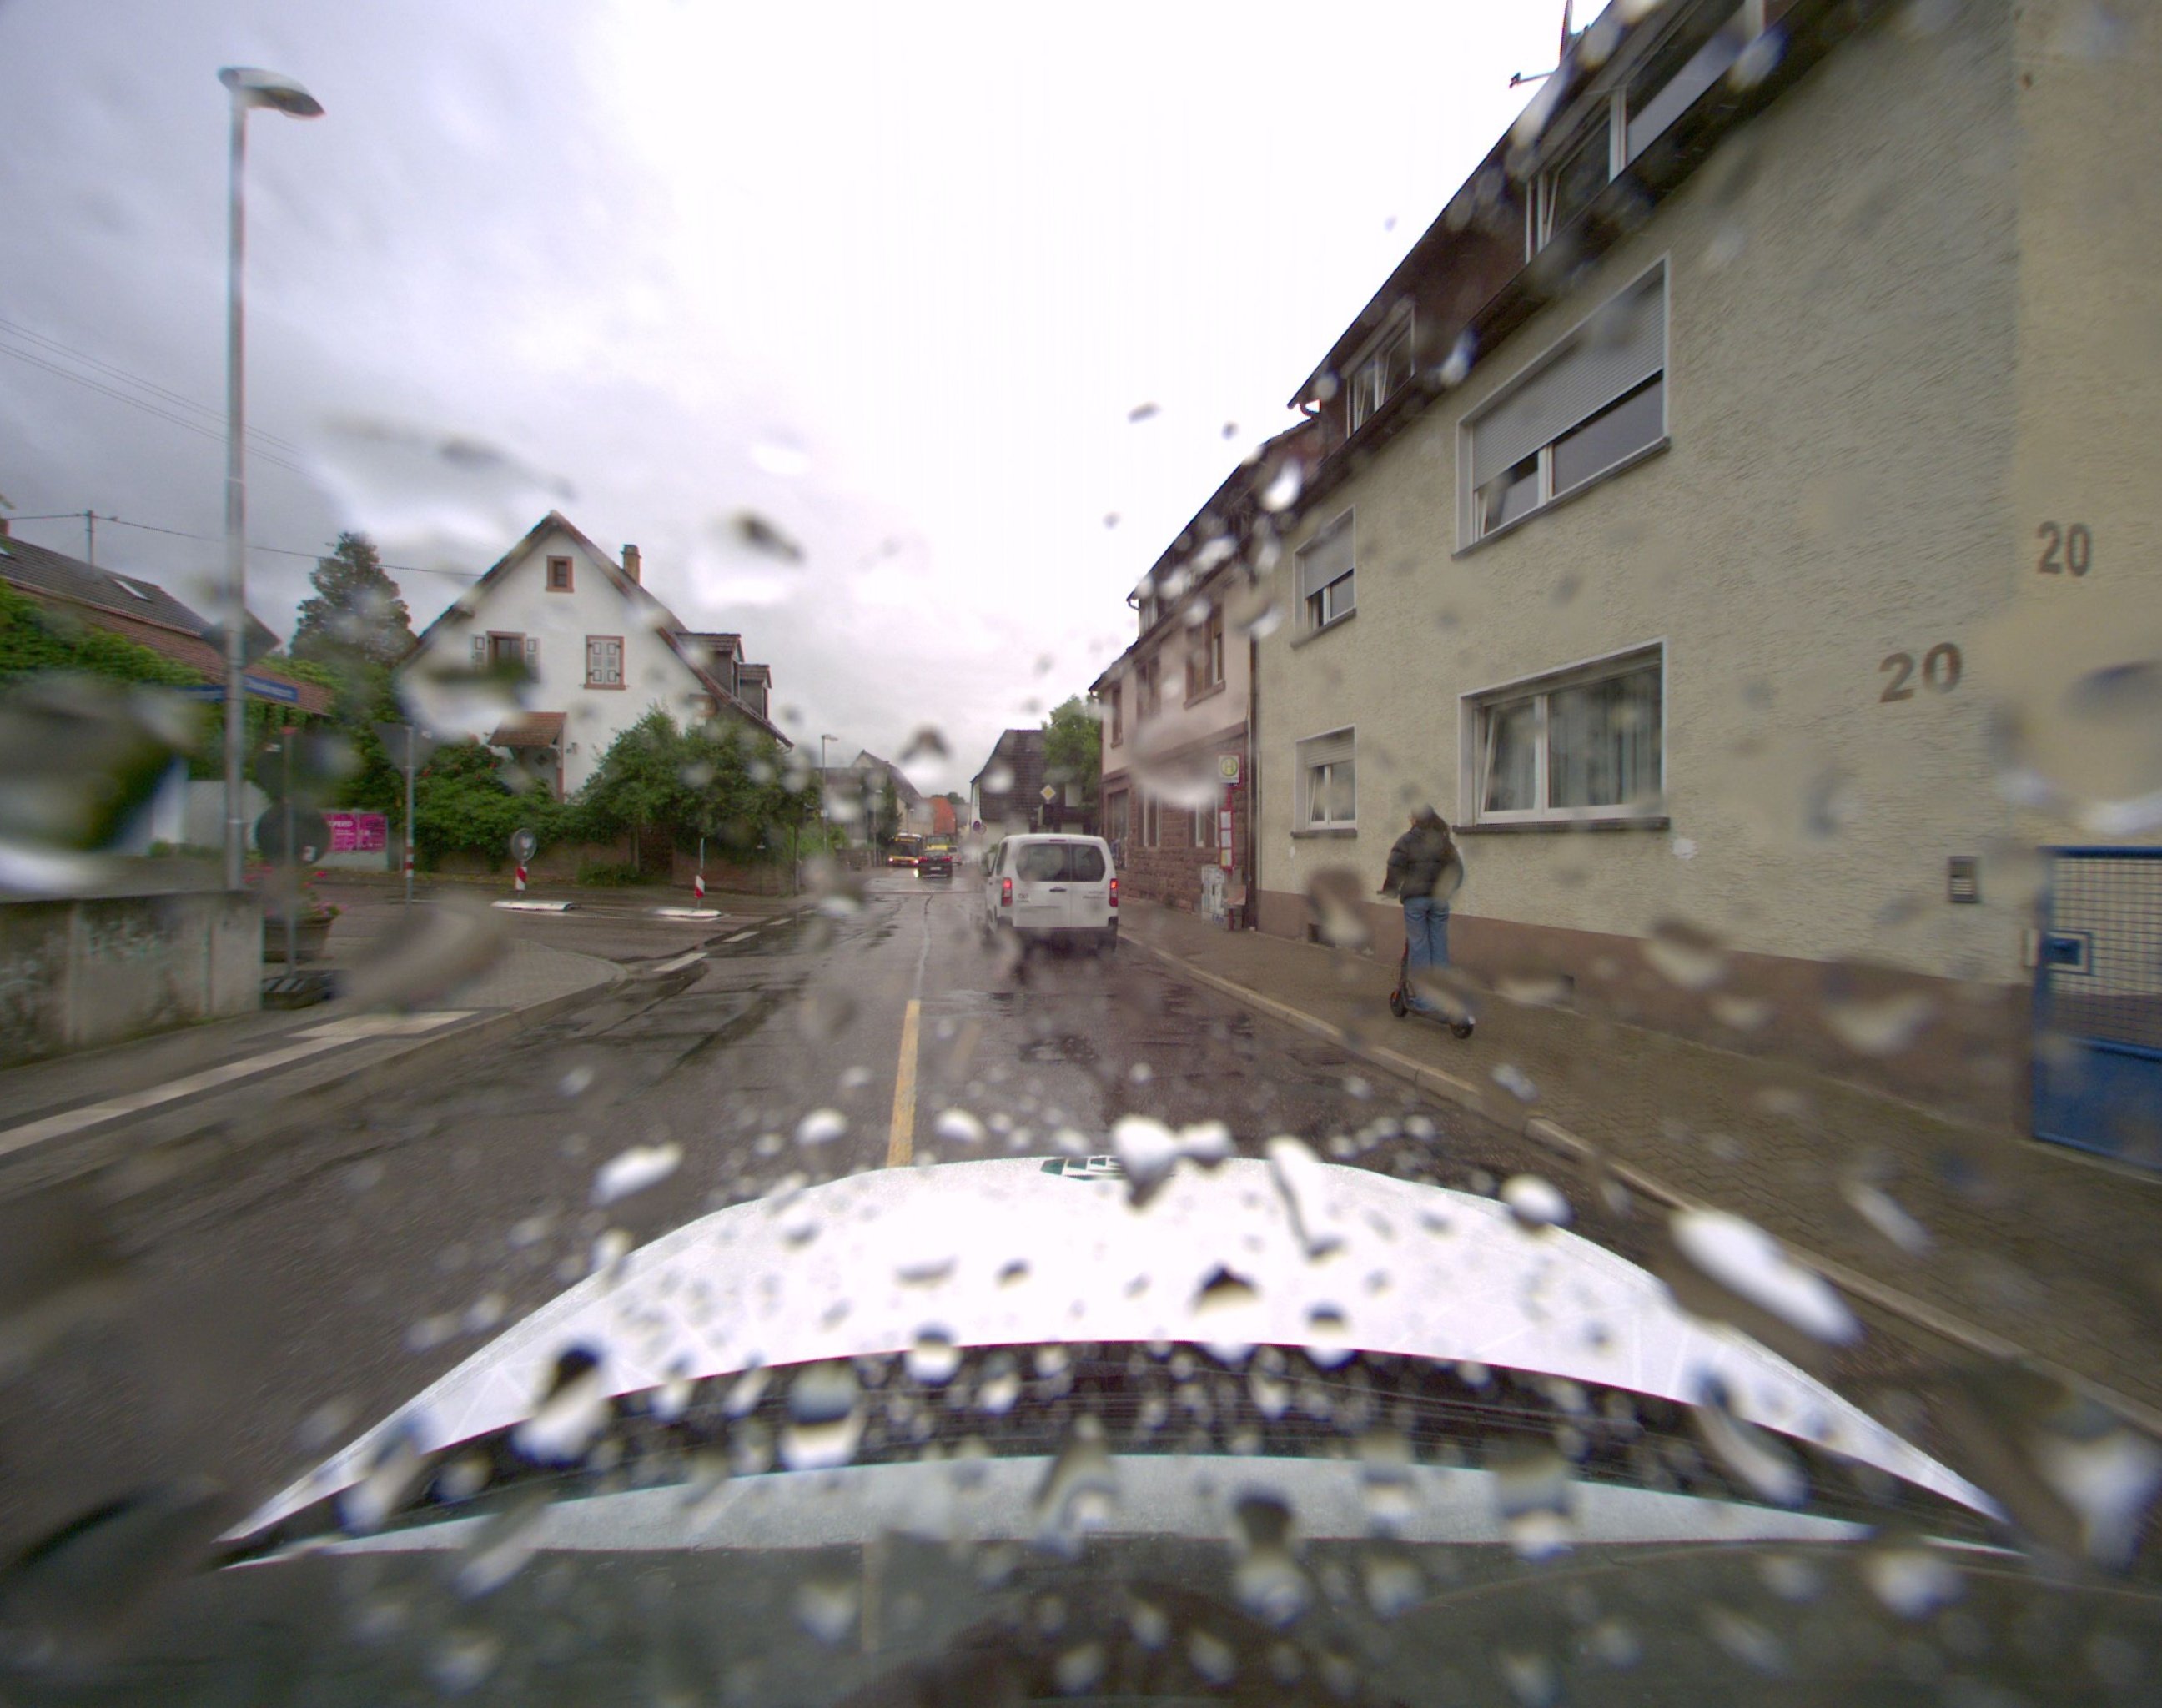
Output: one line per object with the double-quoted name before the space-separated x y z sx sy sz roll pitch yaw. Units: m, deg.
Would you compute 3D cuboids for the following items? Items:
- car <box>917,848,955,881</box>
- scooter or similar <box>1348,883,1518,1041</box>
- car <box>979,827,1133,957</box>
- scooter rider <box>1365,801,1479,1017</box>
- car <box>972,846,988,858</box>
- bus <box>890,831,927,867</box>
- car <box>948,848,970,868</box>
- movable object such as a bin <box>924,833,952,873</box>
"car" -7.471 0.490 41.802 1.810 1.596 3.742 1 0 -11
"scooter or similar" 2.866 0.823 6.780 0.620 1.127 1.396 0 -1 -11
"car" -0.562 0.532 13.254 1.895 1.794 3.799 1 0 -11
"scooter rider" 2.867 0.445 6.881 0.731 1.733 0.516 0 -1 -12
"car" -17.048 -0.373 137.702 1.985 2.013 4.003 -2 0 3
"bus" -15.917 -0.608 75.816 2.648 2.999 12.158 1 2 -9
"car" -12.270 0.387 81.827 1.893 1.947 3.992 -2 0 -5
"movable object such as a bin" -9.811 -0.065 55.917 1.727 2.653 3.961 1 0 -10
